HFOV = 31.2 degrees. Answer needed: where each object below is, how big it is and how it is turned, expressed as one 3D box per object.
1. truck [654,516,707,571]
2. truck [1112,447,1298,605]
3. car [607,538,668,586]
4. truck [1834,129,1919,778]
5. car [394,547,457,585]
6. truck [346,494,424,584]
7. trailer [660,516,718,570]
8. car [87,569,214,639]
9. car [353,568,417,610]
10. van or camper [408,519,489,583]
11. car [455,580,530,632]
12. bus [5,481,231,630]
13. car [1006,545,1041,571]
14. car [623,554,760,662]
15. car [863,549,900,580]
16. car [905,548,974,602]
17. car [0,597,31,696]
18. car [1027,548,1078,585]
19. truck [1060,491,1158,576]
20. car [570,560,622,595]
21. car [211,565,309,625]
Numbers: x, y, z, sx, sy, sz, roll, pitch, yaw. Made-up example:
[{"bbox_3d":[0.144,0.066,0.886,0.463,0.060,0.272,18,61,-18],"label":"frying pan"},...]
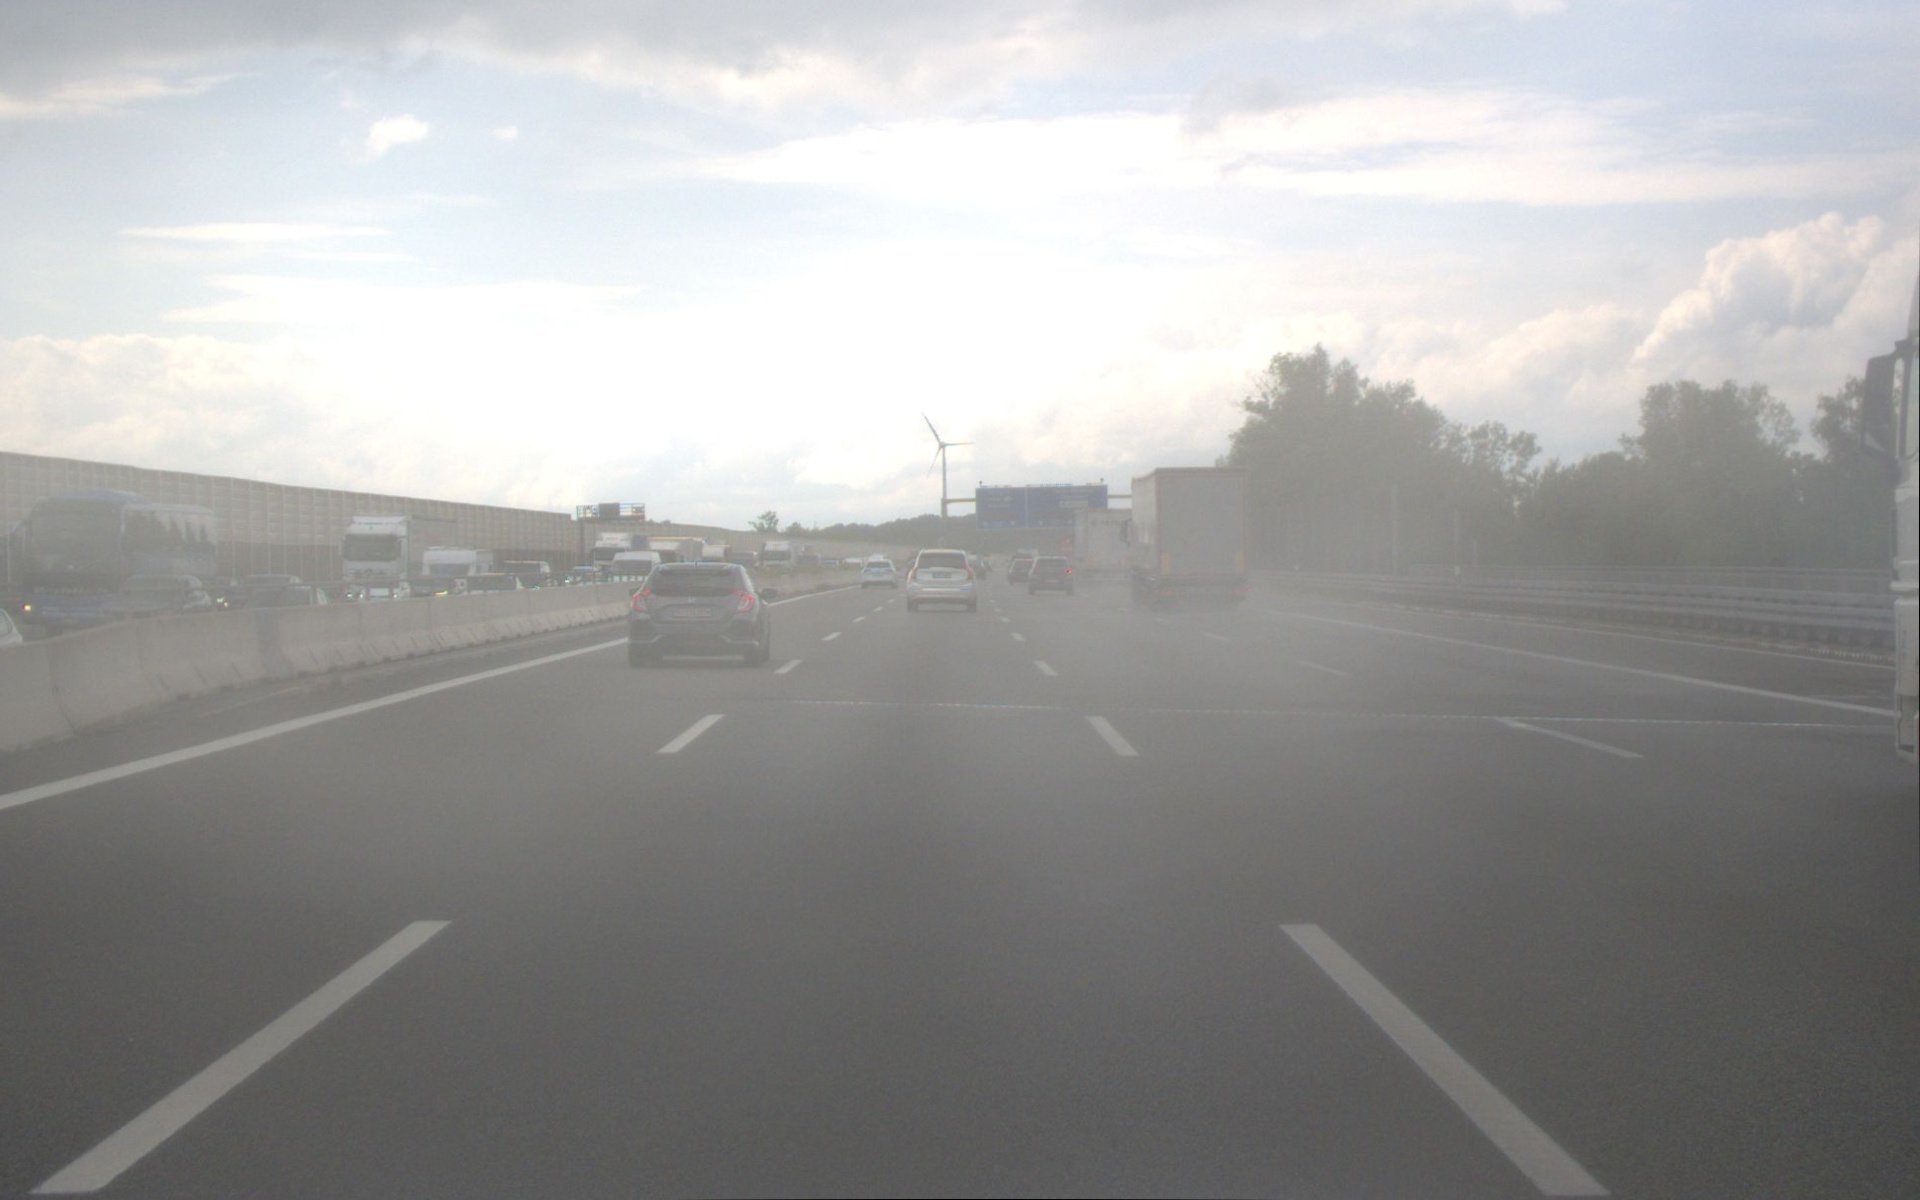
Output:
[{"bbox_3d":[-20.317,-4.149,250.289,3.079,3.921,8.054,1,1,0],"label":"truck"},{"bbox_3d":[7.025,-2.172,100.976,4.180,4.273,12.614,1,1,-1],"label":"truck"},{"bbox_3d":[-14.477,-1.719,154.610,2.159,2.064,6.014,-1,1,0],"label":"car"},{"bbox_3d":[7.421,-0.868,19.866,2.961,4.006,6.589,0,1,-1],"label":"truck"},{"bbox_3d":[-22.032,-1.424,141.797,1.747,1.520,5.140,-1,1,0],"label":"car"},{"bbox_3d":[-25.579,-2.712,153.113,2.576,3.921,5.177,1,1,0],"label":"truck"},{"bbox_3d":[-20.274,-4.302,257.987,3.079,3.921,14.982,1,1,0],"label":"trailer"},{"bbox_3d":[-18.755,0.067,79.797,1.747,1.520,4.927,-1,1,0],"label":"car"},{"bbox_3d":[-22.086,-0.421,132.188,1.747,1.520,4.178,-1,1,0],"label":"car"},{"bbox_3d":[-21.974,-2.122,147.945,2.344,2.632,7.150,-1,1,0],"label":"van or camper"},{"bbox_3d":[-14.724,0.180,108.418,1.747,1.520,4.178,-1,1,0],"label":"car"},{"bbox_3d":[-22.554,-1.238,92.847,3.092,3.745,11.882,-1,1,0],"label":"bus"},{"bbox_3d":[3.636,-2.425,197.854,1.835,1.436,4.056,0,1,-1],"label":"car"},{"bbox_3d":[-3.706,0.079,48.056,1.760,1.364,5.061,0,1,-3],"label":"car"},{"bbox_3d":[-3.918,-1.780,171.687,1.772,1.436,3.874,0,1,-3],"label":"car"},{"bbox_3d":[-0.595,-0.729,96.960,1.772,1.436,4.056,0,1,-3],"label":"car"},{"bbox_3d":[-14.616,0.695,49.355,1.572,1.389,3.576,-1,1,0],"label":"car"},{"bbox_3d":[3.730,-1.376,138.854,1.835,1.436,4.056,0,1,-1],"label":"car"},{"bbox_3d":[7.657,-3.455,178.457,4.243,4.162,11.990,1,1,-1],"label":"truck"},{"bbox_3d":[-17.665,-1.102,167.006,1.923,1.593,5.096,-1,1,0],"label":"car"},{"bbox_3d":[-18.695,-0.156,91.965,1.747,1.520,4.178,-1,1,0],"label":"car"}]
